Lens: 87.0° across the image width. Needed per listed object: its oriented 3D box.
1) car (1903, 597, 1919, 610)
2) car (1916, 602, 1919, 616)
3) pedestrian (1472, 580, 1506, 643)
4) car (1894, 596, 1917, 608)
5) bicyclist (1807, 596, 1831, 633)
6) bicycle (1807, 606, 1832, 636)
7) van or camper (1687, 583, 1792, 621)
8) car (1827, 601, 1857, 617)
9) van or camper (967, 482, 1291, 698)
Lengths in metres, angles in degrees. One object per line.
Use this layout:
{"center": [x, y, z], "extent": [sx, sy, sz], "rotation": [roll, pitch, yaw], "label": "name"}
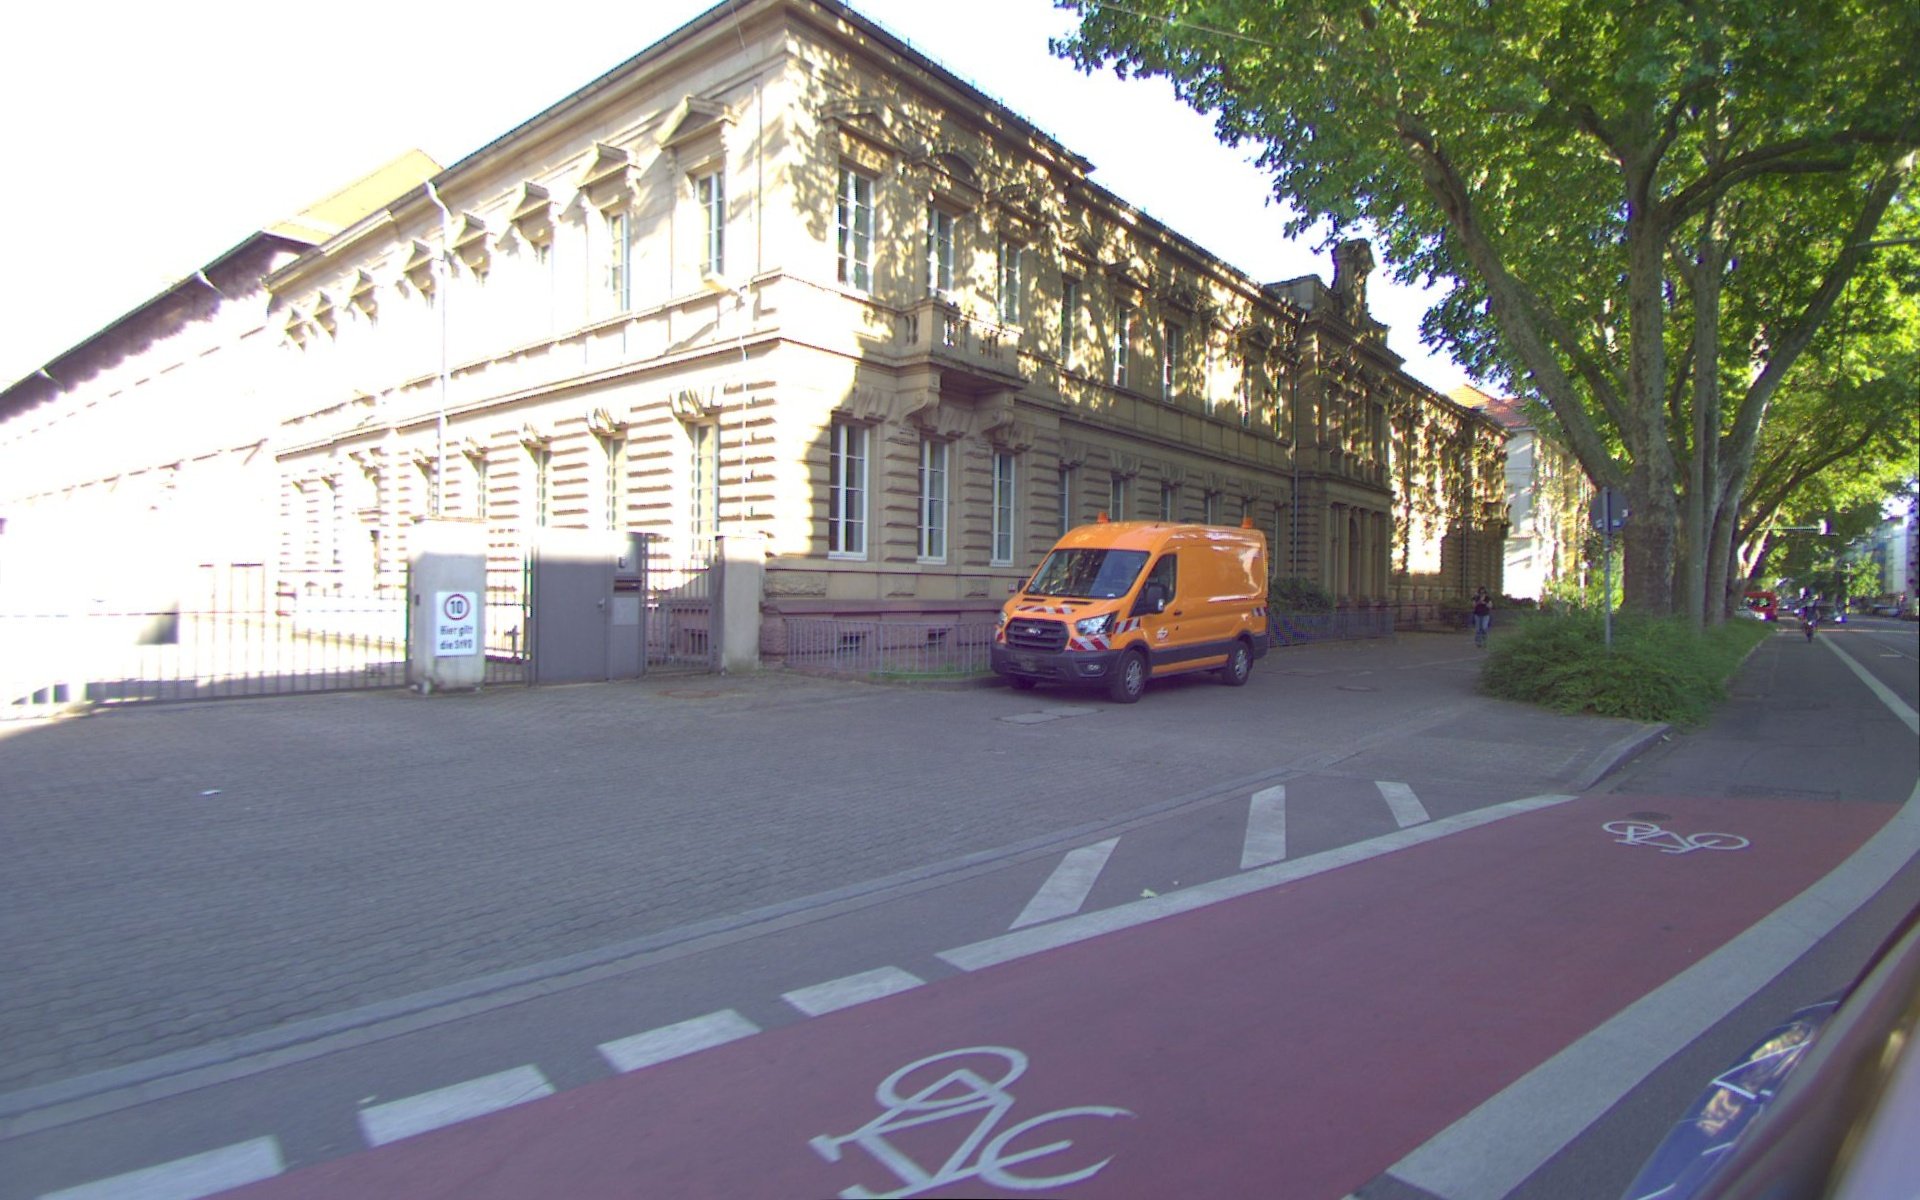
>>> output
{"center": [118.882, 0.473, 126.026], "extent": [1.800, 1.563, 3.864], "rotation": [-1, -1, 38], "label": "car"}
{"center": [106.702, 1.010, 111.356], "extent": [1.800, 1.563, 3.864], "rotation": [-1, -1, 38], "label": "car"}
{"center": [15.157, 0.313, 28.990], "extent": [0.650, 1.758, 0.993], "rotation": [1, 0, 40], "label": "pedestrian"}
{"center": [125.523, 0.321, 134.390], "extent": [1.799, 1.563, 3.867], "rotation": [-1, -1, 37], "label": "car"}
{"center": [34.793, 0.558, 40.977], "extent": [0.712, 1.461, 0.939], "rotation": [1, 1, 41], "label": "bicyclist"}
{"center": [34.792, 0.847, 40.989], "extent": [0.712, 1.152, 2.090], "rotation": [1, 1, 39], "label": "bicycle"}
{"center": [56.591, 0.073, 73.614], "extent": [5.900, 2.528, 2.192], "rotation": [2, 3, 38], "label": "van or camper"}
{"center": [74.878, 0.755, 85.934], "extent": [1.732, 1.390, 3.864], "rotation": [-1, -1, 38], "label": "car"}
{"center": [2.728, -0.145, 14.956], "extent": [2.034, 2.591, 5.687], "rotation": [1, 1, 41], "label": "van or camper"}
